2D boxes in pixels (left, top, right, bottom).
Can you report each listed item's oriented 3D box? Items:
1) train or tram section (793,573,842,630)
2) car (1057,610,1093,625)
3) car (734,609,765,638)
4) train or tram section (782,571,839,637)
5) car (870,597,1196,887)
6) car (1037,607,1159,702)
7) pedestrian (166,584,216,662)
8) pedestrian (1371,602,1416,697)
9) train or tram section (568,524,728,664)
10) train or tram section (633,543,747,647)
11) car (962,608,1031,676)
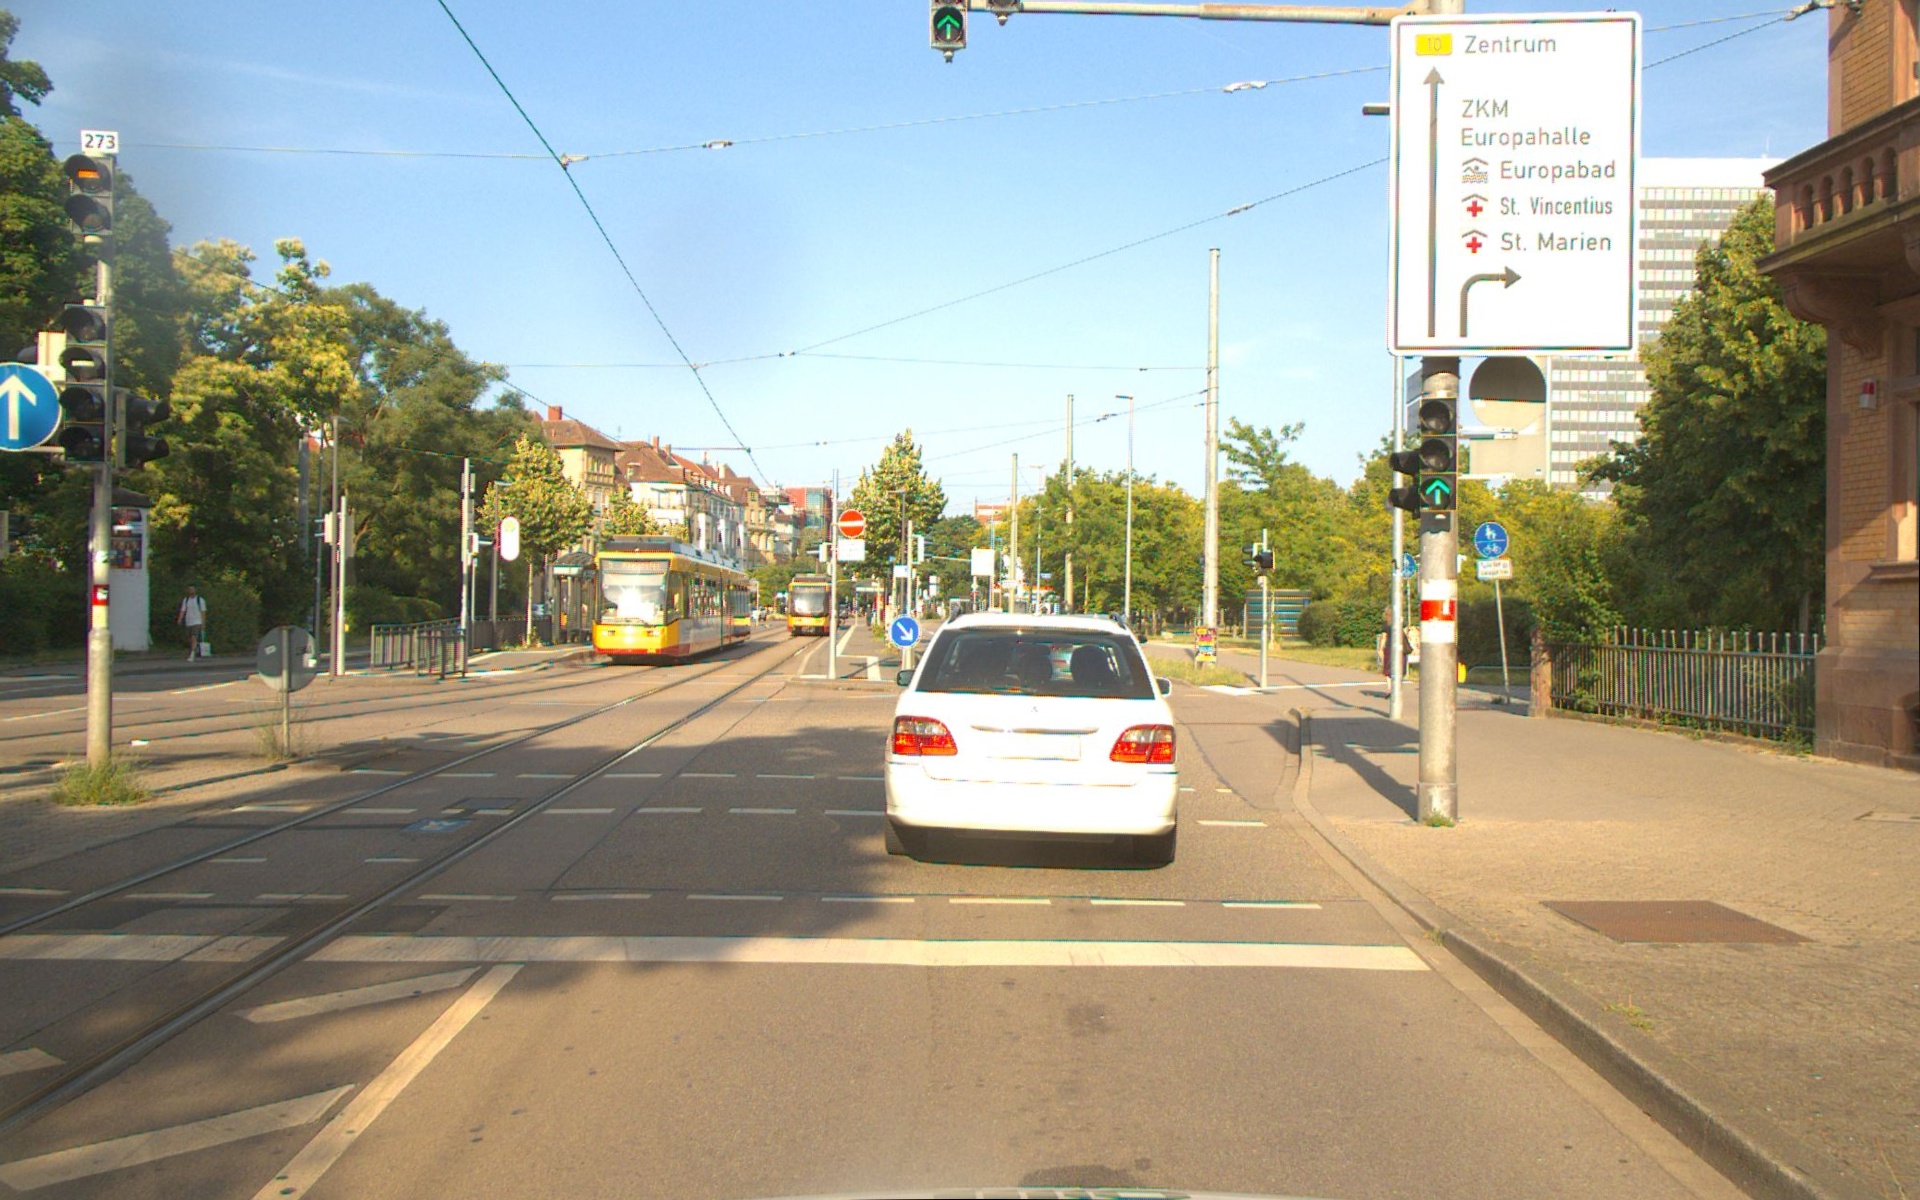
[{"bbox_3d":[-9.506,0.075,111.375,2.793,3.540,13.191,2,0,-3],"label":"train or tram section"},{"bbox_3d":[13.865,2.115,200.110,3.905,1.680,2.000,0,-1,22],"label":"car"},{"bbox_3d":[-21.290,2.313,167.282,2.545,2.783,7.463,2,0,-4],"label":"car"},{"bbox_3d":[-8.809,0.199,98.474,2.793,3.540,13.191,2,0,-3],"label":"train or tram section"},{"bbox_3d":[0.352,0.765,10.802,1.722,1.530,3.999,1,0,-1],"label":"car"},{"bbox_3d":[2.533,0.973,31.302,1.991,1.633,4.000,2,0,1],"label":"car"},{"bbox_3d":[-19.496,0.581,41.945,0.986,1.943,0.705,2,0,-16],"label":"pedestrian"},{"bbox_3d":[8.066,0.915,30.787,0.602,1.721,0.548,-4,0,0],"label":"pedestrian"},{"bbox_3d":[-9.115,-0.162,50.214,3.100,3.540,14.518,2,0,-5],"label":"train or tram section"},{"bbox_3d":[-10.294,-0.172,64.650,3.100,3.540,14.458,2,0,-5],"label":"train or tram section"},{"bbox_3d":[0.974,1.110,45.109,1.750,1.719,4.000,2,0,1],"label":"car"}]
